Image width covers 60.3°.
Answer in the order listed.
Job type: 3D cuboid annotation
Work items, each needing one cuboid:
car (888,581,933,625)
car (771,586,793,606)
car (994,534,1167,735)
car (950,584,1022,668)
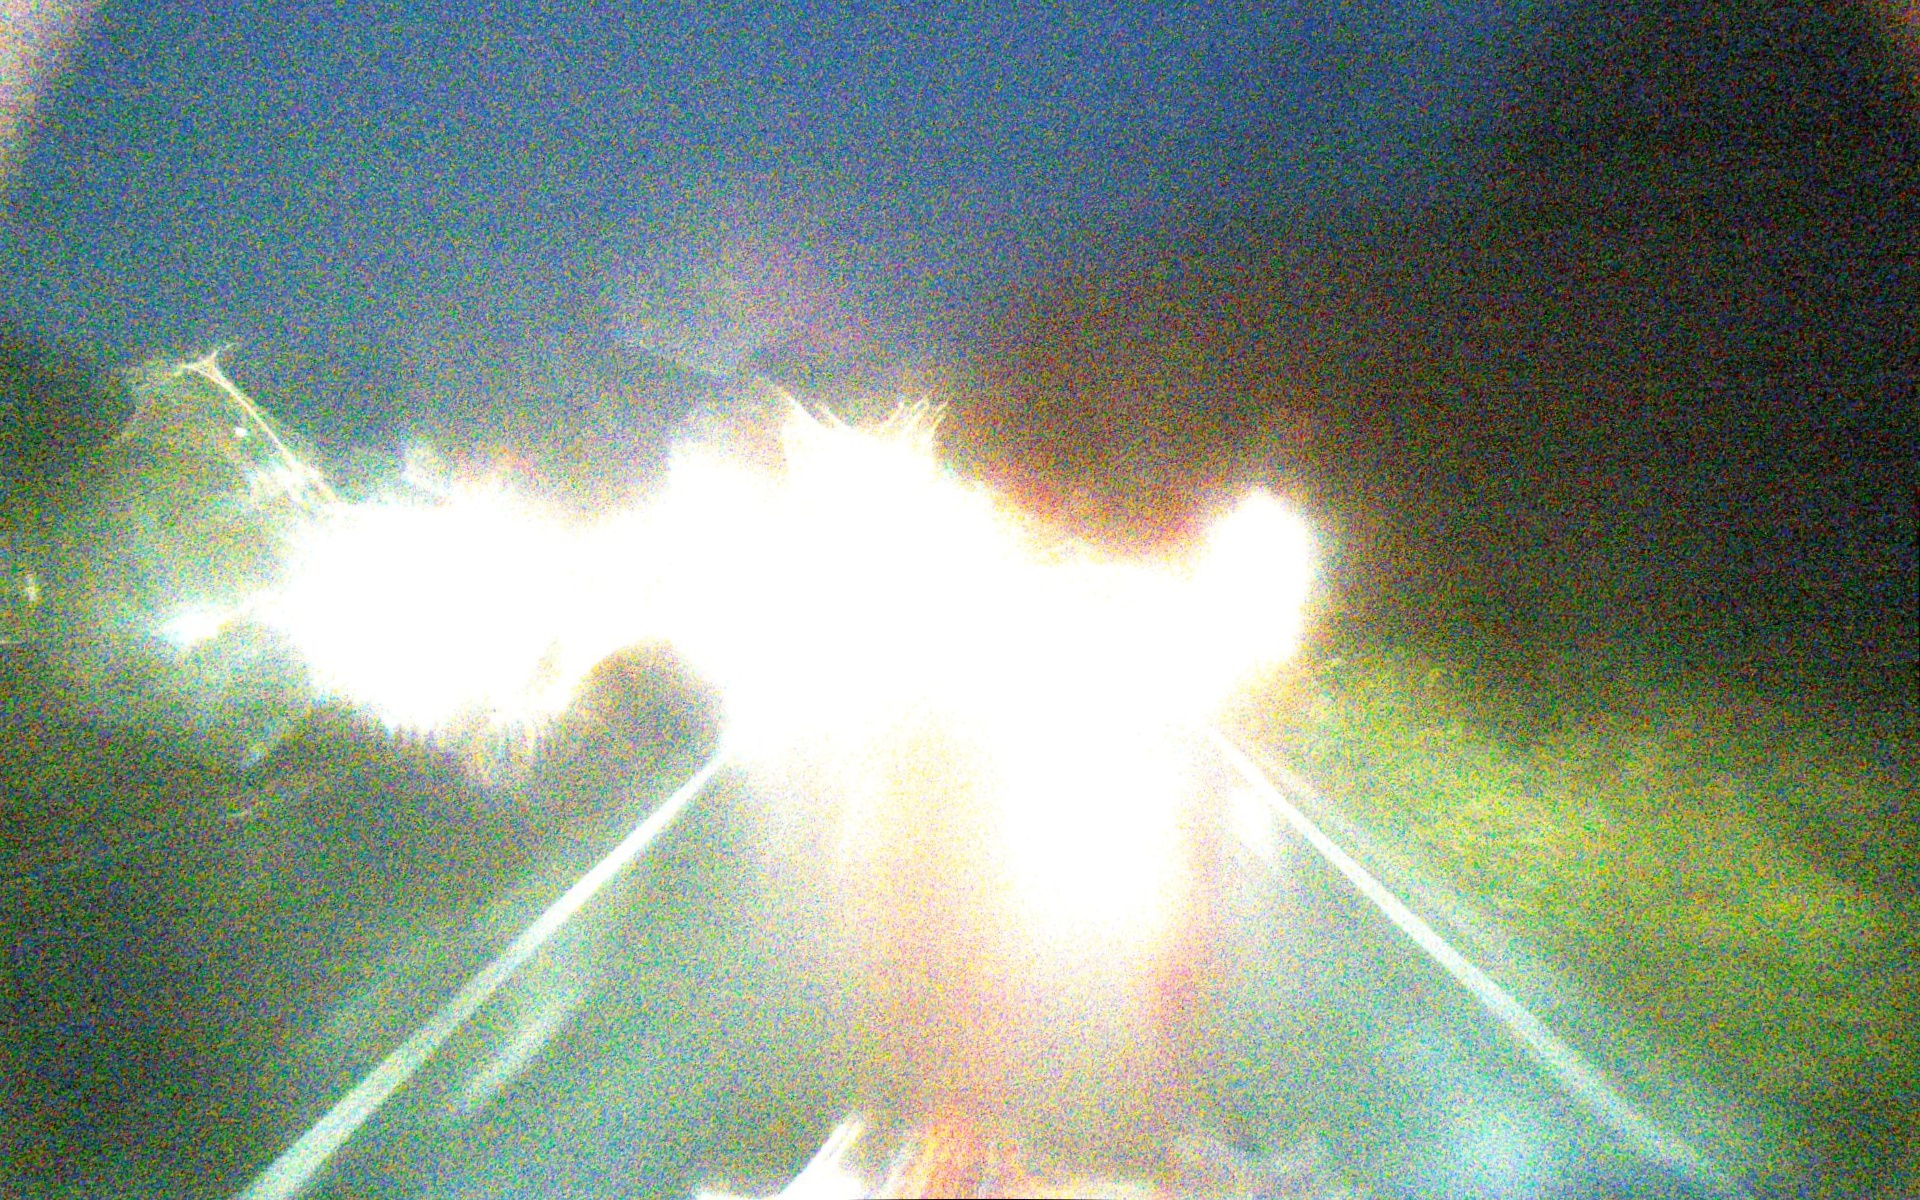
[{"bbox_3d":[-2.223,0.101,73.443,1.749,1.813,4.432,-2,1,-5],"label":"car"},{"bbox_3d":[-14.703,-0.326,136.884,1.767,1.616,4.026,0,0,-5],"label":"car"},{"bbox_3d":[1.306,0.332,19.484,1.754,2.057,4.580,-1,1,1],"label":"car"},{"bbox_3d":[0.708,0.627,43.683,1.754,2.057,4.580,-1,1,1],"label":"car"}]
